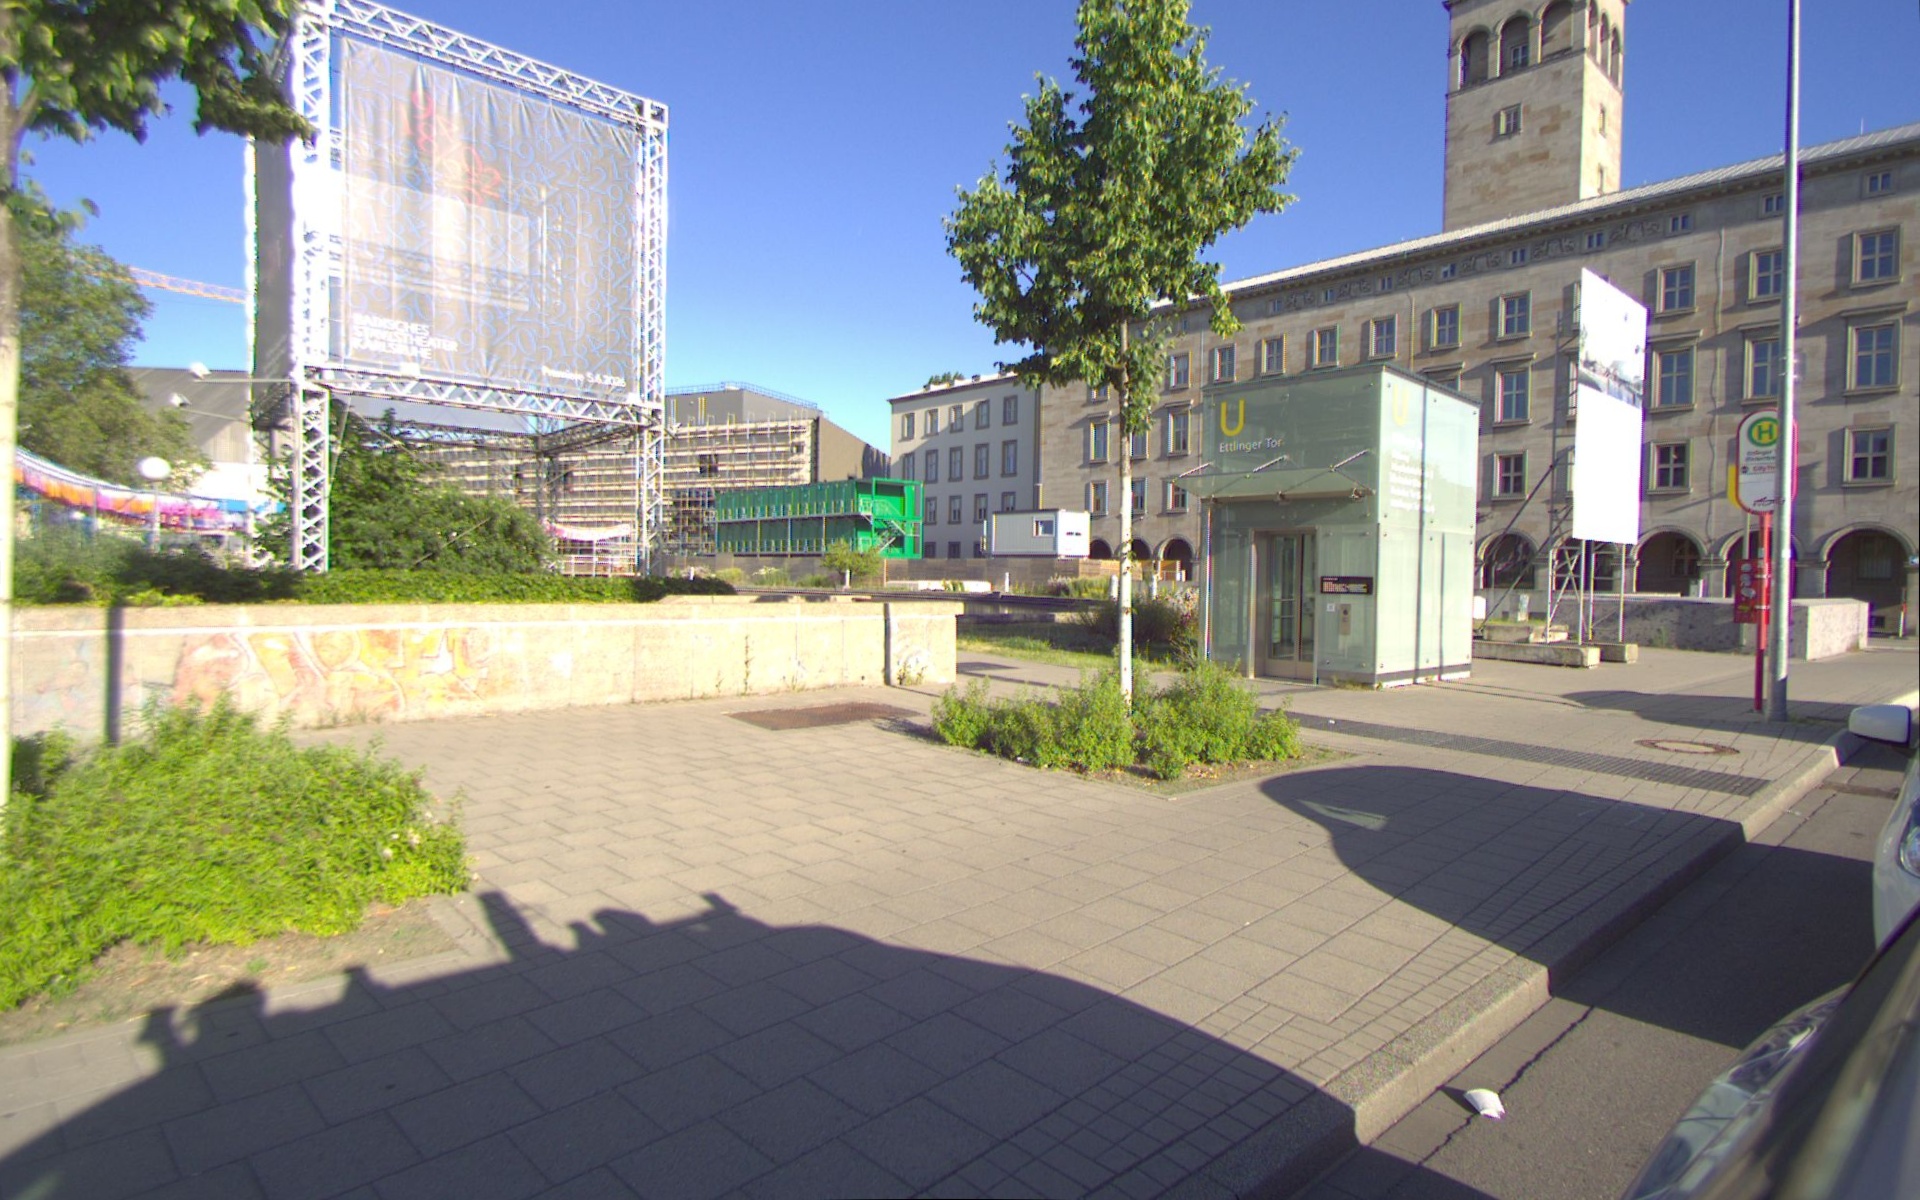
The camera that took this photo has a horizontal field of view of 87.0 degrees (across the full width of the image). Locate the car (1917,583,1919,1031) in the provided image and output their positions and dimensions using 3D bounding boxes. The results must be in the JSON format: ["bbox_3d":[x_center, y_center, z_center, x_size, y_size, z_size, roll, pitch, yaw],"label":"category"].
[{"bbox_3d":[5.044,0.708,3.999,3.541,1.504,1.495,0,0,-41],"label":"car"}]
